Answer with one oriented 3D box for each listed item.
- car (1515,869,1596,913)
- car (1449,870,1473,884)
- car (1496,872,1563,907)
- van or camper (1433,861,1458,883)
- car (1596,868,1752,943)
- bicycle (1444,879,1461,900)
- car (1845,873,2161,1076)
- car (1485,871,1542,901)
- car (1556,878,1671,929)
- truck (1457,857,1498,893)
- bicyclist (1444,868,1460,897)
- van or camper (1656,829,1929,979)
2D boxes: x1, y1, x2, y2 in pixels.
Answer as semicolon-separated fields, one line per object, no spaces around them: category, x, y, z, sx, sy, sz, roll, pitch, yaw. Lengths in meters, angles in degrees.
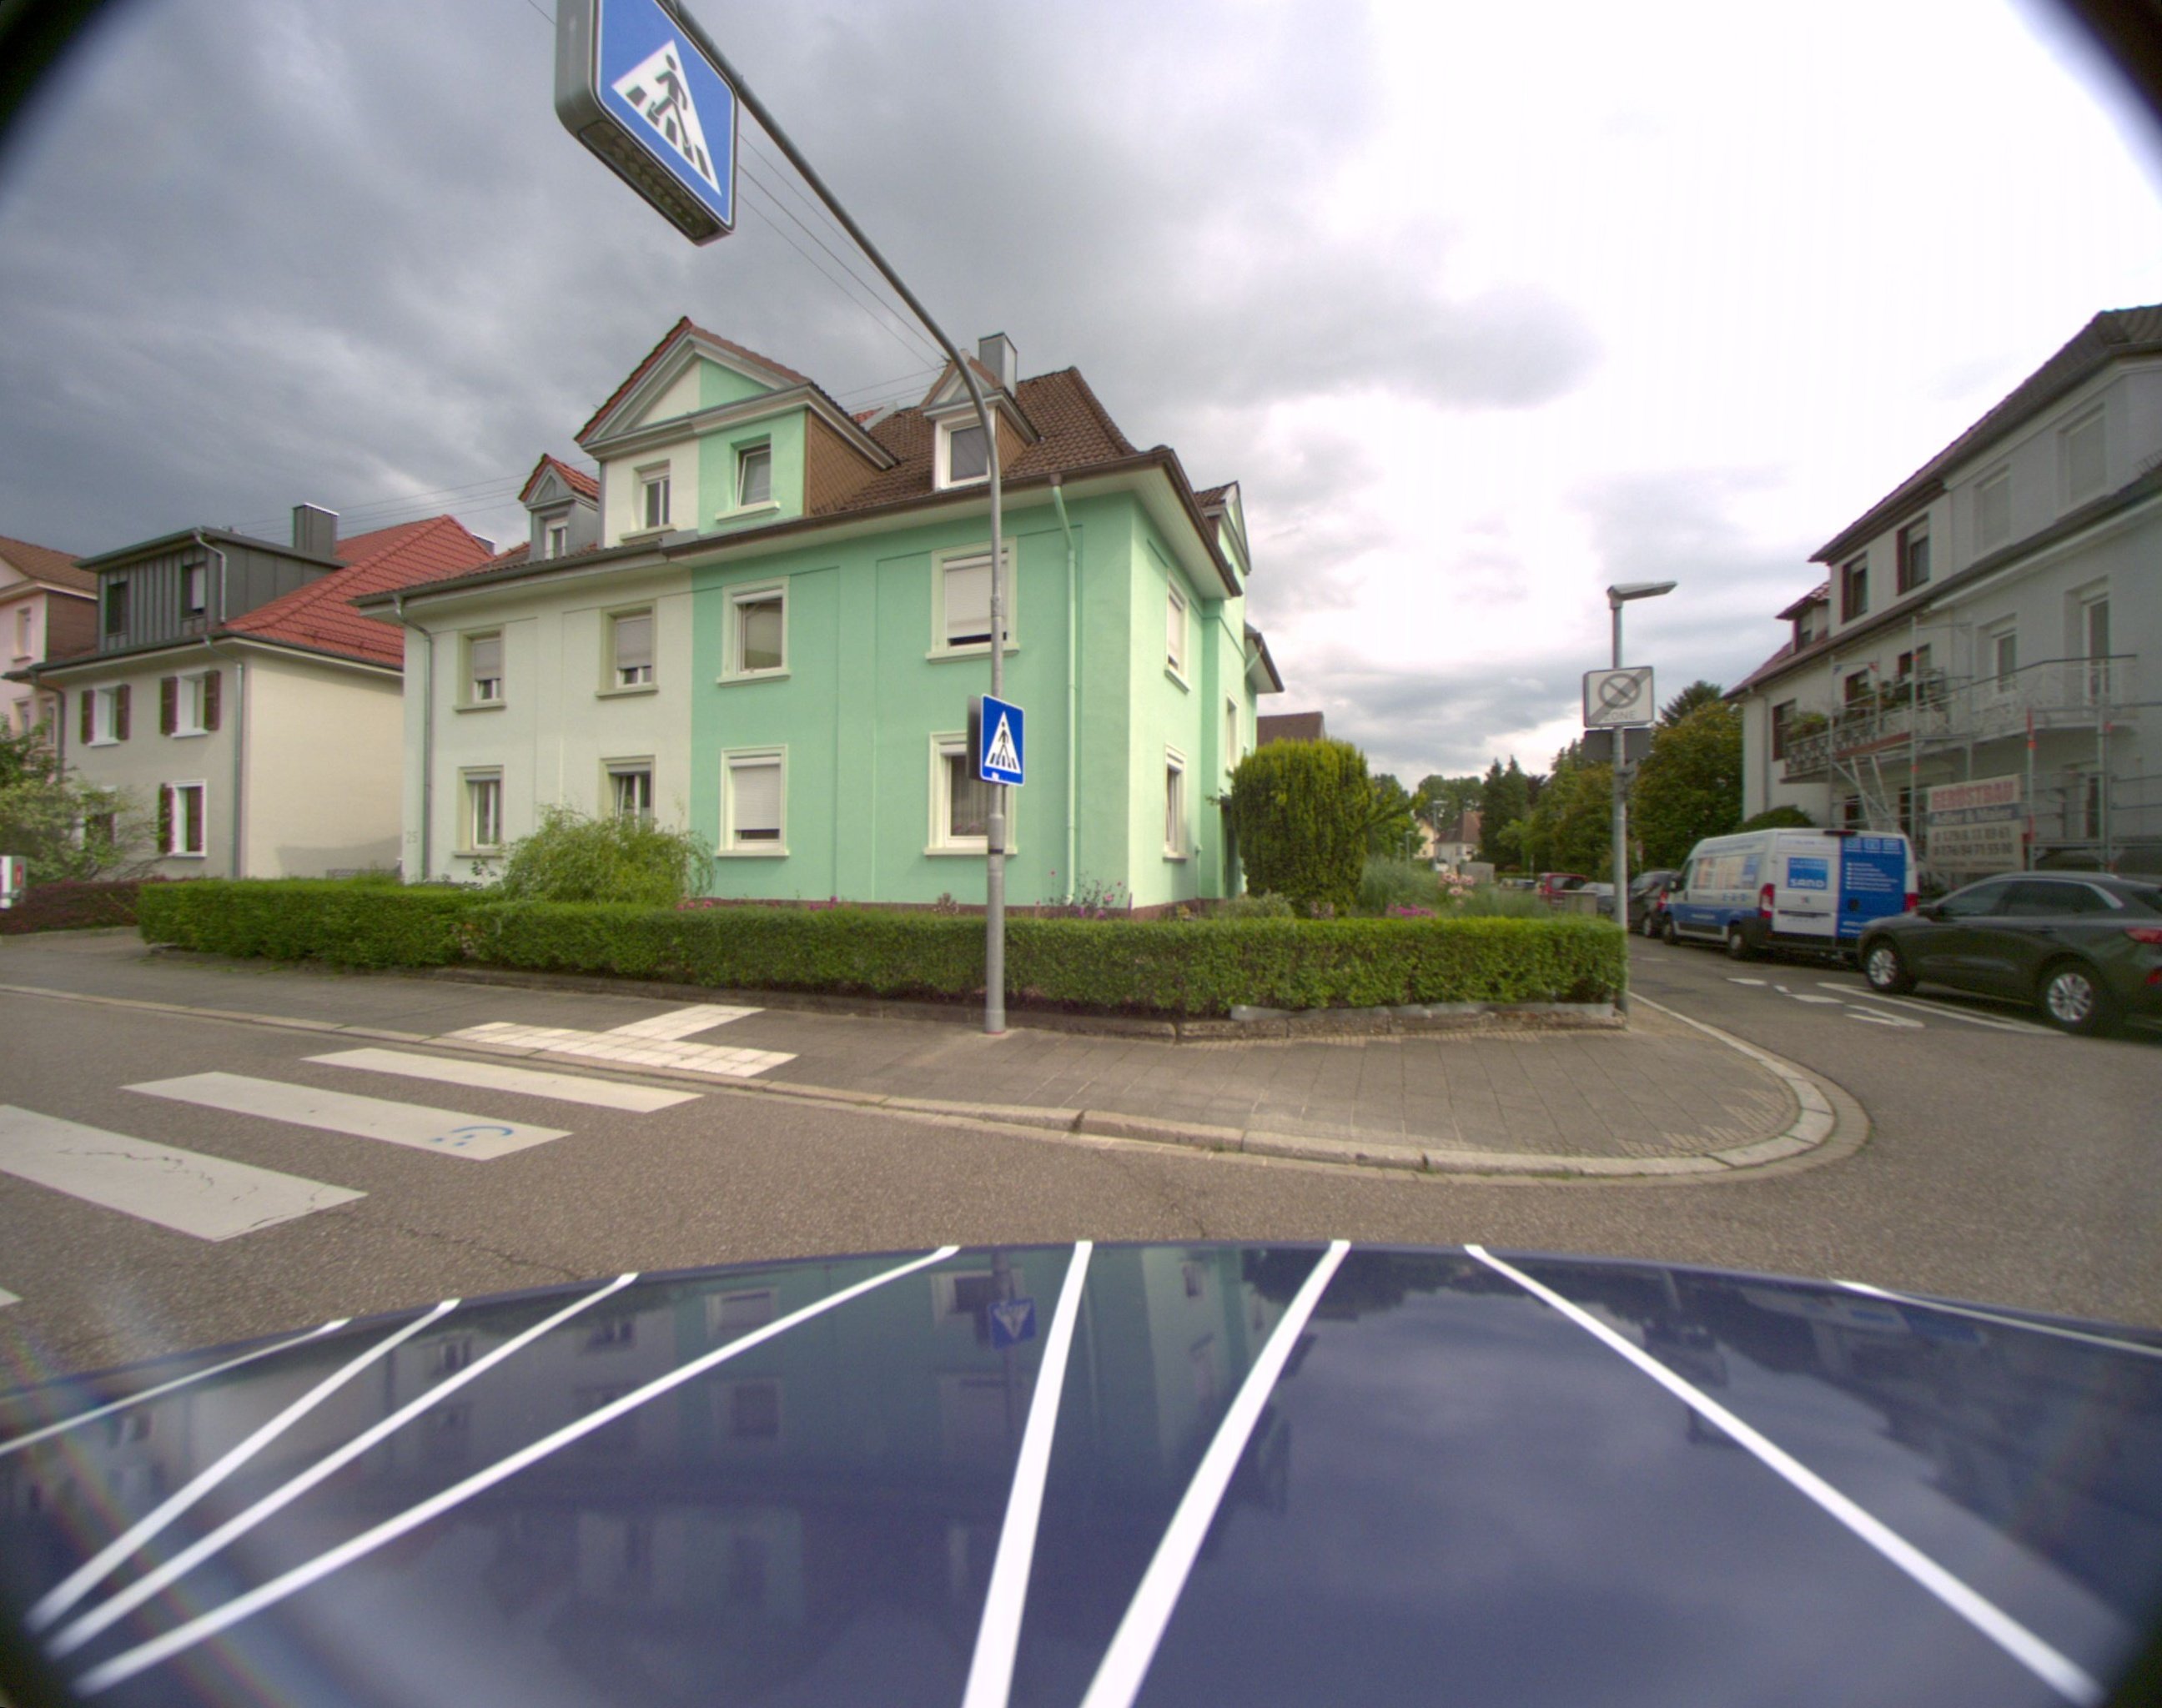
car;20.361;1.528;32.810;1.996;1.739;4.348;0;-1;18
car;38.480;2.301;77.009;1.822;1.368;4.007;0;-1;22
car;22.084;1.703;37.580;1.996;1.581;4.348;0;-1;18
van or camper;42.643;2.068;88.986;2.143;2.526;5.023;0;-1;21
car;15.852;1.294;20.626;1.996;1.761;4.348;0;-1;18
bicycle;21.293;2.028;43.592;0.706;1.145;1.876;-1;-1;21
car;11.089;1.106;8.395;1.996;1.716;4.348;0;-1;18
car;24.366;1.759;42.979;1.996;1.581;4.348;0;-1;18
car;17.600;1.571;25.383;1.996;1.447;4.348;0;-1;18
truck;30.530;1.574;58.602;2.132;2.641;4.591;0;0;19
bicyclist;21.269;1.639;43.558;0.697;1.656;0.977;-1;-1;21
van or camper;13.669;0.845;15.128;2.194;2.444;5.062;0;-1;20
